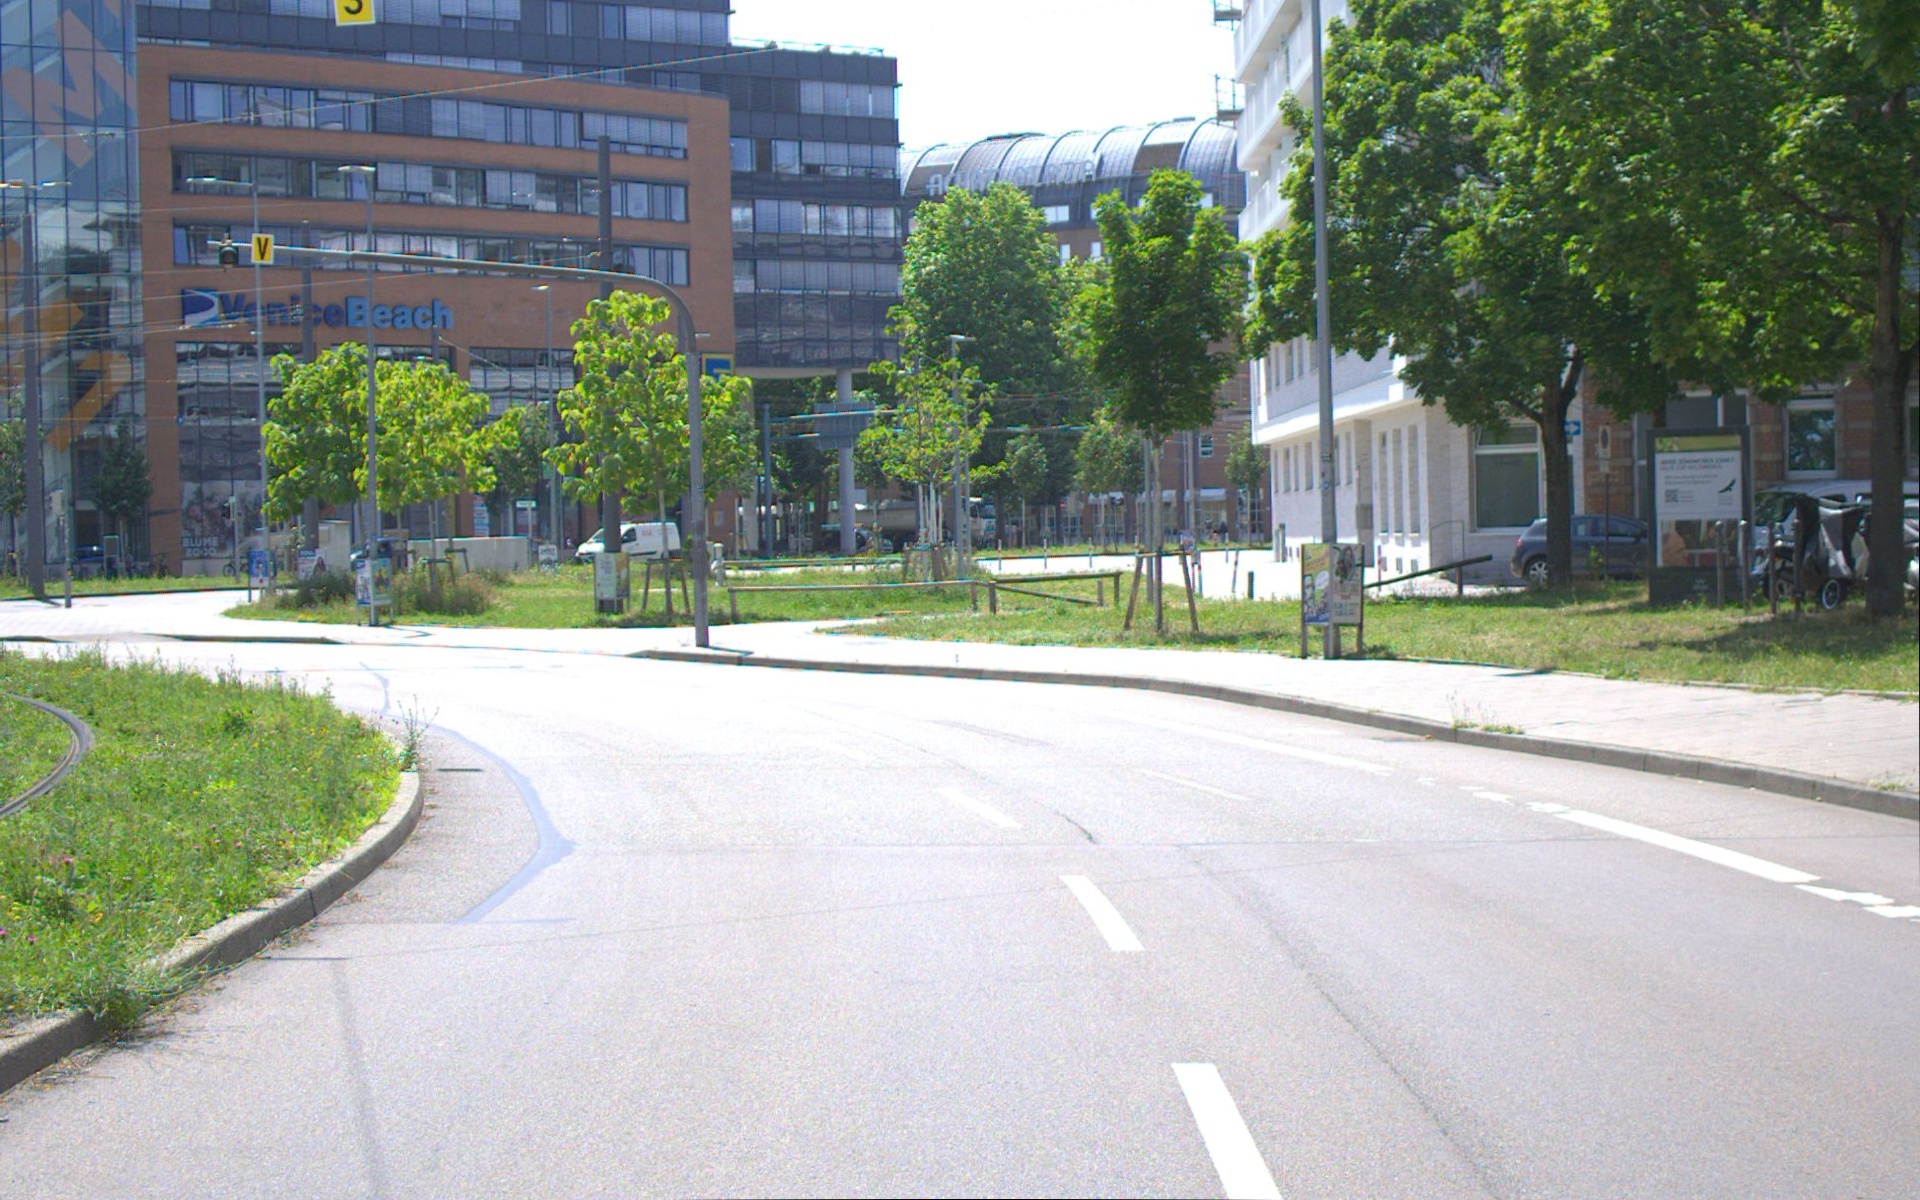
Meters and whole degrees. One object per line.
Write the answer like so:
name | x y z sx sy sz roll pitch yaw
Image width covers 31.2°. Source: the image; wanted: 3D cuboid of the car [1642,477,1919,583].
car | 13.172 -1.081 53.594 4.858 1.595 1.836 0 1 -27

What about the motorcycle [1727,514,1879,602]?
motorcycle | 10.899 -0.539 44.473 1.821 1.116 0.528 0 1 -6

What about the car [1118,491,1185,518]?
car | 12.608 -6.294 226.779 3.994 1.722 1.863 1 1 31

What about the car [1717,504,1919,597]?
car | 13.413 -0.730 51.083 3.986 1.327 1.759 0 1 -27

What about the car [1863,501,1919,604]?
car | 14.909 -0.671 49.064 3.856 1.427 1.607 0 1 -29

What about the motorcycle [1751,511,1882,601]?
motorcycle | 10.793 -0.552 43.359 1.520 1.116 0.478 0 1 0

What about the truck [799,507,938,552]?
truck | -5.850 -4.503 218.066 9.227 2.799 1.996 1 1 32

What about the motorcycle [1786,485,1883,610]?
motorcycle | 10.203 -0.617 40.164 0.675 1.408 1.856 -2 1 1

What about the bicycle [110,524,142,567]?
bicycle | -34.832 -2.292 143.584 0.485 1.790 2.259 0 1 -35

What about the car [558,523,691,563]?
car | -14.107 -2.391 144.812 5.466 1.662 1.999 -1 1 -43

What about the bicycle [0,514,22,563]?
bicycle | -38.910 -2.521 140.256 0.485 2.007 2.346 0 1 -35

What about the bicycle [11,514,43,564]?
bicycle | -38.195 -2.505 140.738 0.485 2.007 2.346 0 1 -35

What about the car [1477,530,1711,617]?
car | 12.322 -0.531 66.869 4.124 1.619 1.692 1 1 30
